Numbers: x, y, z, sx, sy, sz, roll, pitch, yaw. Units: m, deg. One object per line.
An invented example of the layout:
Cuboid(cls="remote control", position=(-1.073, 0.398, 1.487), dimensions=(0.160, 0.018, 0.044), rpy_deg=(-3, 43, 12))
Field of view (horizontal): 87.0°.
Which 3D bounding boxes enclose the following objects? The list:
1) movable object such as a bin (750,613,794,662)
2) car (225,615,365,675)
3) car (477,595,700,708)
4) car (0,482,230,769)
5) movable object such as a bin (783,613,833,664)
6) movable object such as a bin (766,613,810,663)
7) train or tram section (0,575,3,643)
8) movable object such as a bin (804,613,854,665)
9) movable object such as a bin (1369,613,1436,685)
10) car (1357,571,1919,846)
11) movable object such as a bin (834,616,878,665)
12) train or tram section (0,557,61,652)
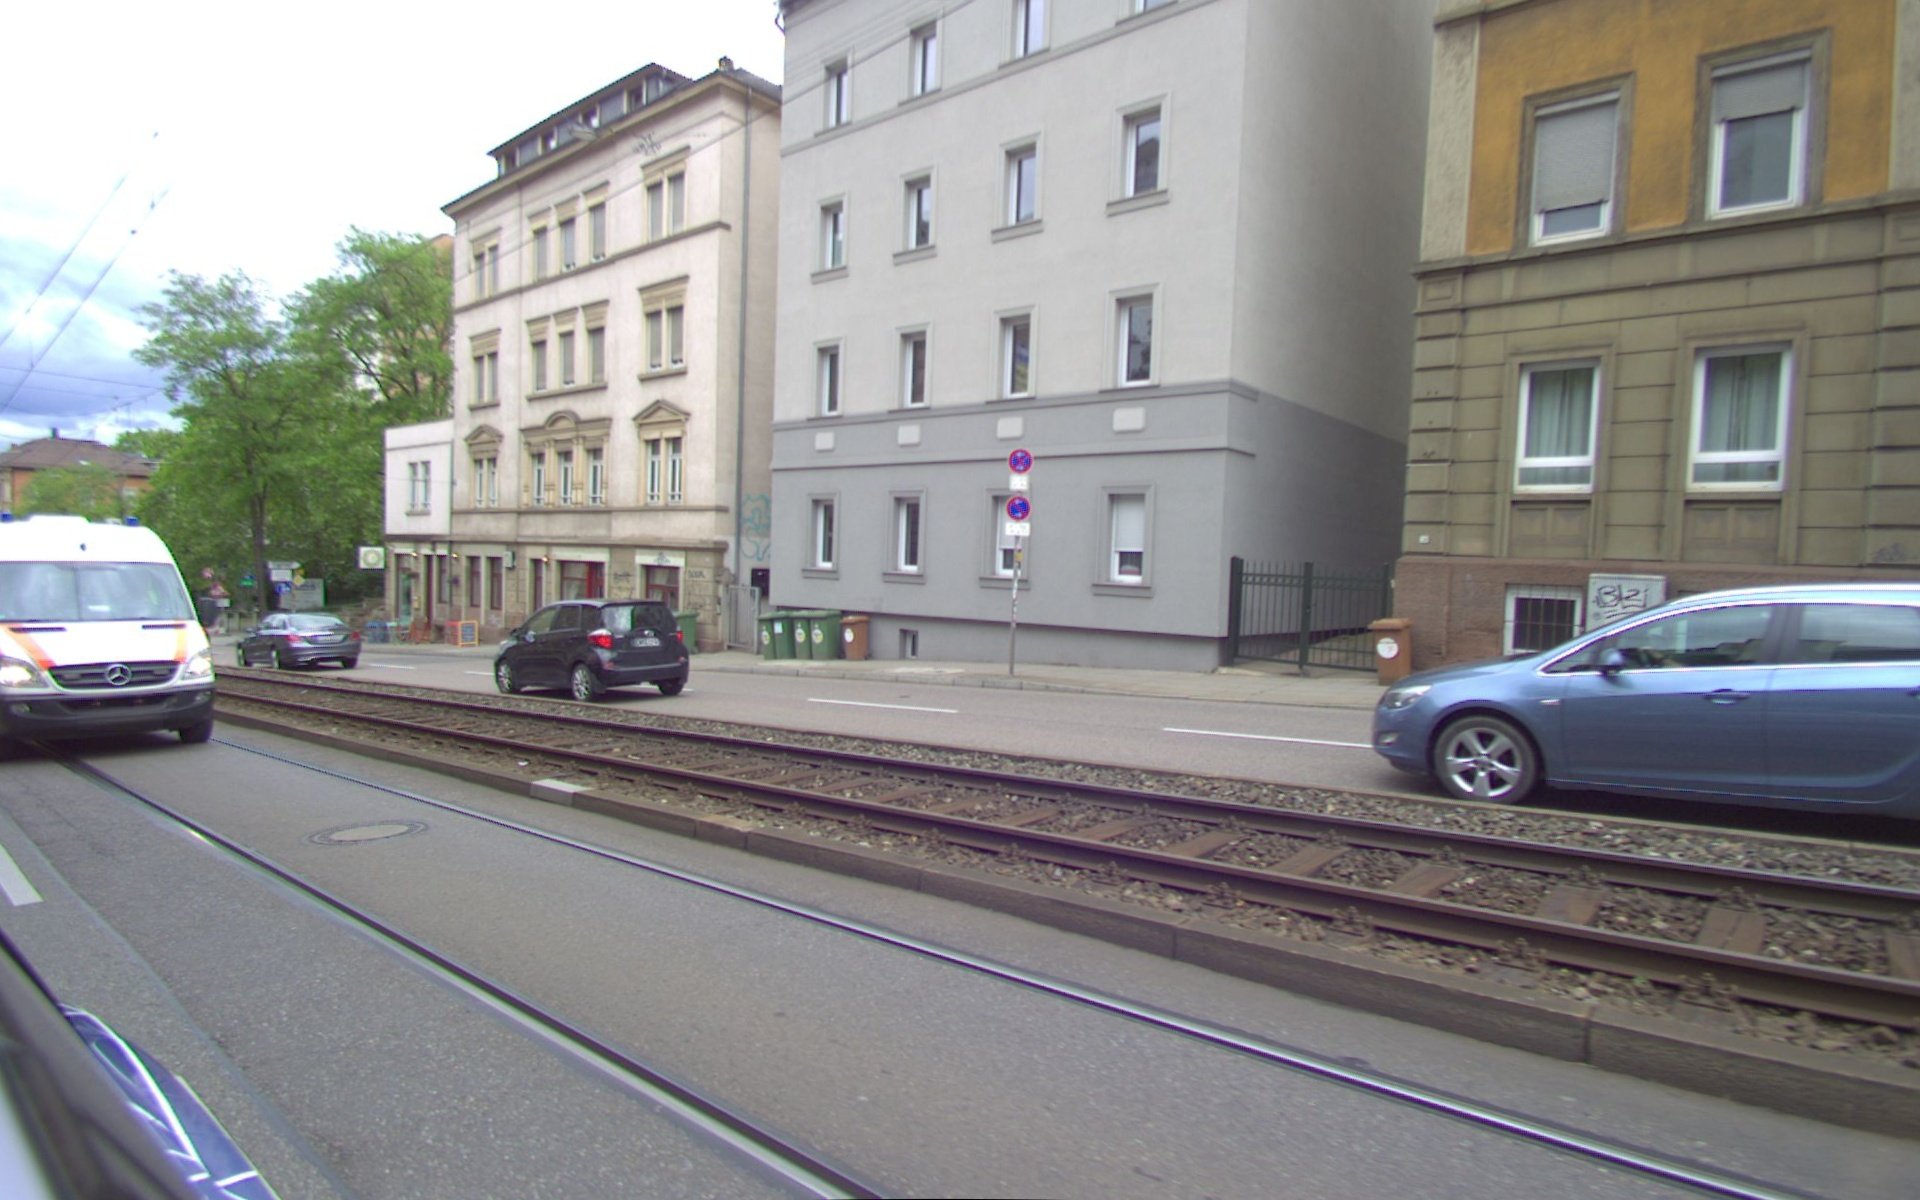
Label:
Cuboid(cls="movable object such as a bin", position=(-4.286, 0.850, 23.120), dimensions=(0.671, 1.082, 0.720), rpy_deg=(-1, -1, 41))
Cuboid(cls="car", position=(-17.066, 1.087, 25.874), dimensions=(4.762, 1.371, 1.793), rpy_deg=(-1, 0, 41))
Cuboid(cls="car", position=(-6.116, 0.760, 16.464), dimensions=(3.967, 1.608, 1.725), rpy_deg=(-1, 0, 41))
Cuboid(cls="car", position=(-10.831, 0.297, 12.134), dimensions=(5.850, 2.720, 2.013), rpy_deg=(-2, -1, 40))
Cuboid(cls="movable object such as a bin", position=(-3.345, 0.828, 22.269), dimensions=(0.697, 1.082, 0.816), rpy_deg=(-1, -1, 41))
Cuboid(cls="movable object such as a bin", position=(-3.843, 0.840, 22.632), dimensions=(0.606, 1.082, 0.735), rpy_deg=(-1, -1, 41))
Cuboid(cls="train or tram section", position=(-58.854, 0.578, 58.792), dimensions=(18.746, 3.753, 2.847), rpy_deg=(-1, 1, 41))
Cuboid(cls="movable object such as a bin", position=(-2.815, 0.819, 21.816), dimensions=(0.676, 1.082, 0.816), rpy_deg=(-1, -1, 41))
Cuboid(cls="movable object such as a bin", position=(6.196, 0.668, 14.168), dimensions=(0.653, 0.955, 0.771), rpy_deg=(-1, -1, 41))
Cuboid(cls="car", position=(5.232, 0.581, 6.503), dimensions=(4.659, 1.466, 1.824), rpy_deg=(-1, 0, 41))
Cuboid(cls="movable object such as a bin", position=(-2.200, 0.847, 21.381), dimensions=(0.676, 0.992, 0.616), rpy_deg=(-1, -1, 41))
Cuboid(cls="train or tram section", position=(-44.877, 0.328, 46.447), dimensions=(18.744, 3.753, 2.847), rpy_deg=(-1, 1, 41))
